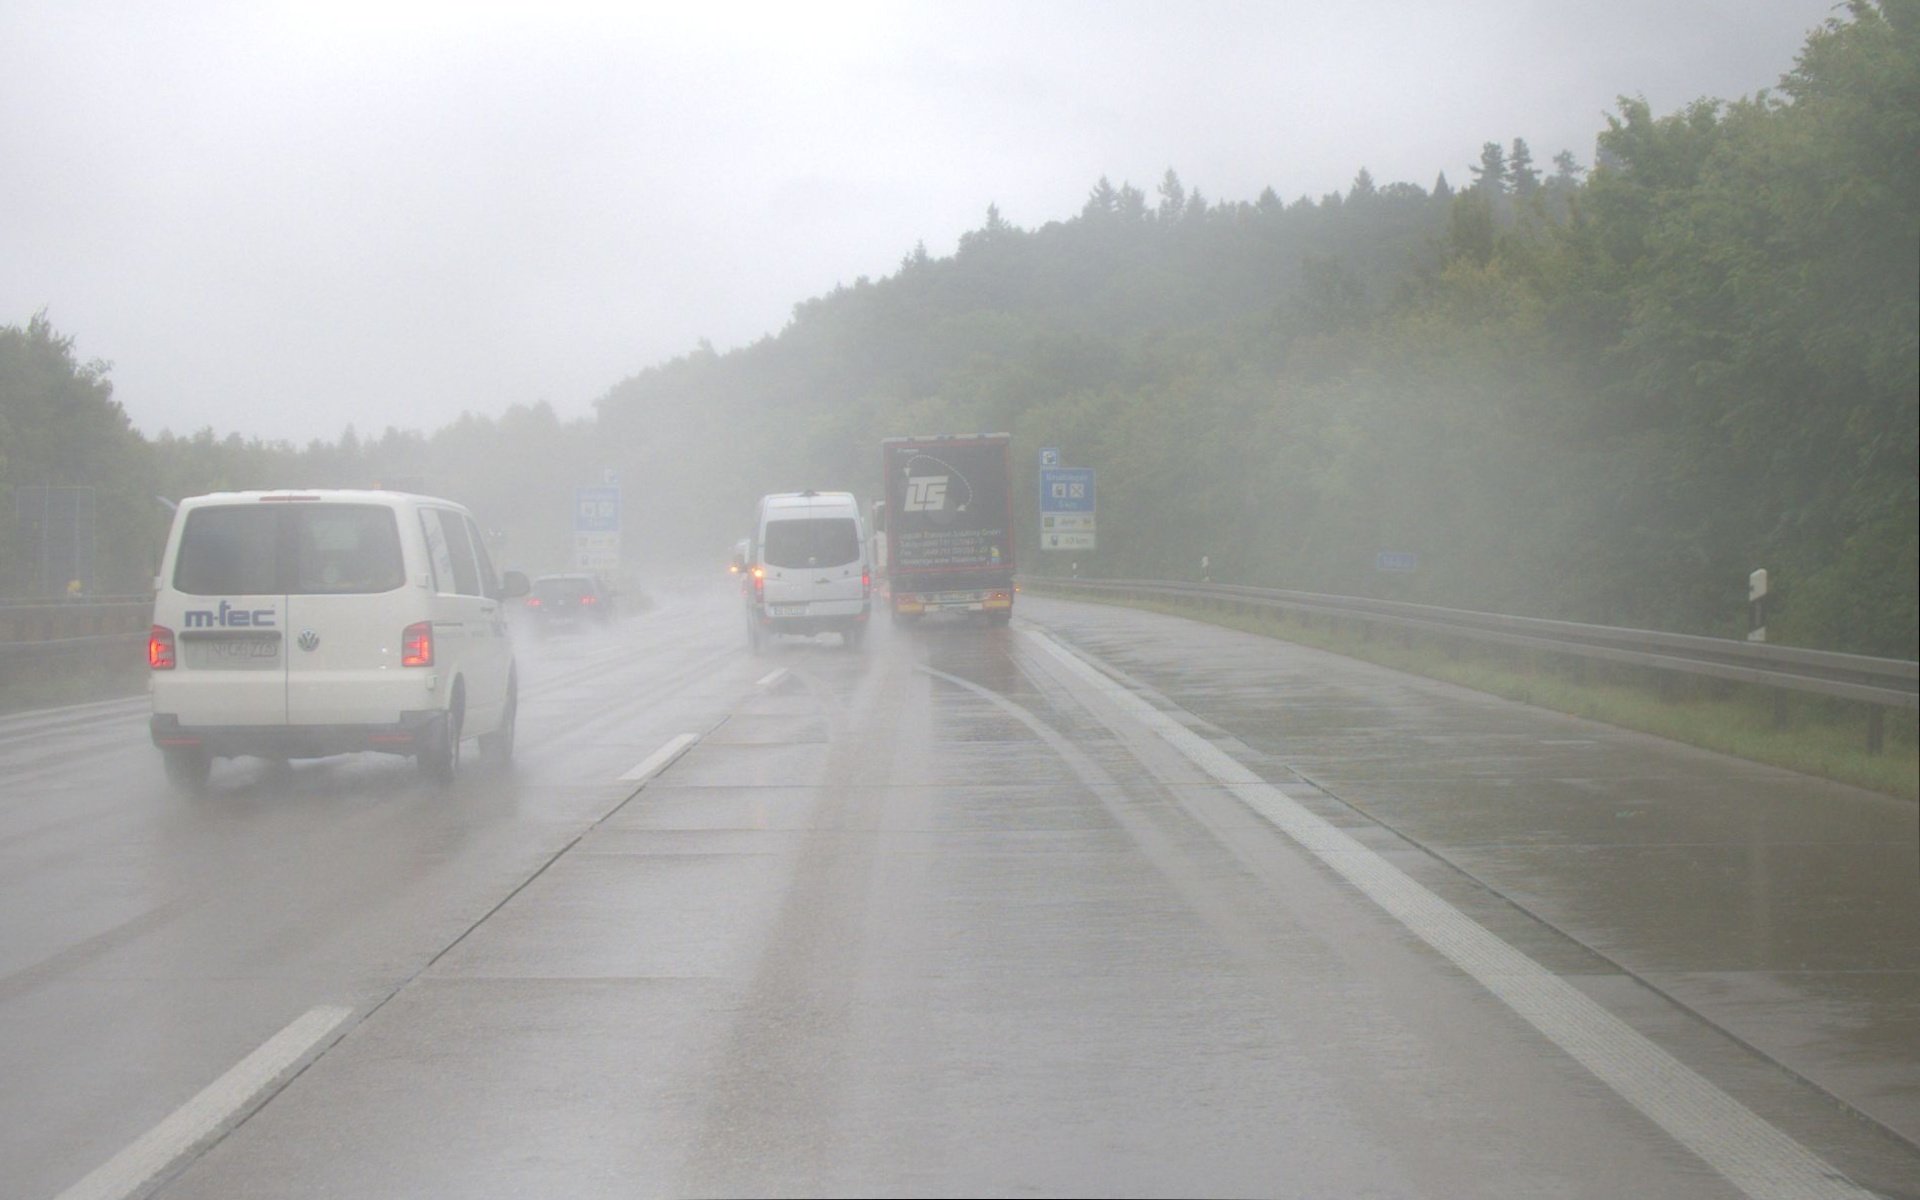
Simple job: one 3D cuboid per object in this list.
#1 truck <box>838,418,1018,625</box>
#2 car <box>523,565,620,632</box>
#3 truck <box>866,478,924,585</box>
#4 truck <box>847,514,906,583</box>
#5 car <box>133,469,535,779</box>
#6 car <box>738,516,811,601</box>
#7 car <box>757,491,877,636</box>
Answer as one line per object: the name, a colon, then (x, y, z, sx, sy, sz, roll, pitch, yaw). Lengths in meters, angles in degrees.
truck: (-0.728, -1.754, 73.116, 3.385, 3.954, 8.668, -3, 3, -1)
car: (-8.216, -0.040, 72.952, 1.740, 1.383, 4.322, 0, 0, -2)
truck: (-2.393, -2.491, 126.280, 1.993, 3.793, 6.734, -1, 1, -1)
truck: (-4.002, -2.434, 163.858, 1.993, 3.159, 6.735, -1, 1, -8)
car: (-4.139, 0.118, 23.549, 1.899, 1.888, 5.043, 0, 1, -1)
car: (-5.576, -1.245, 103.974, 1.997, 2.423, 5.791, 2, 1, -2)
car: (-2.464, -0.637, 59.534, 1.899, 2.326, 5.251, 2, 1, -2)
